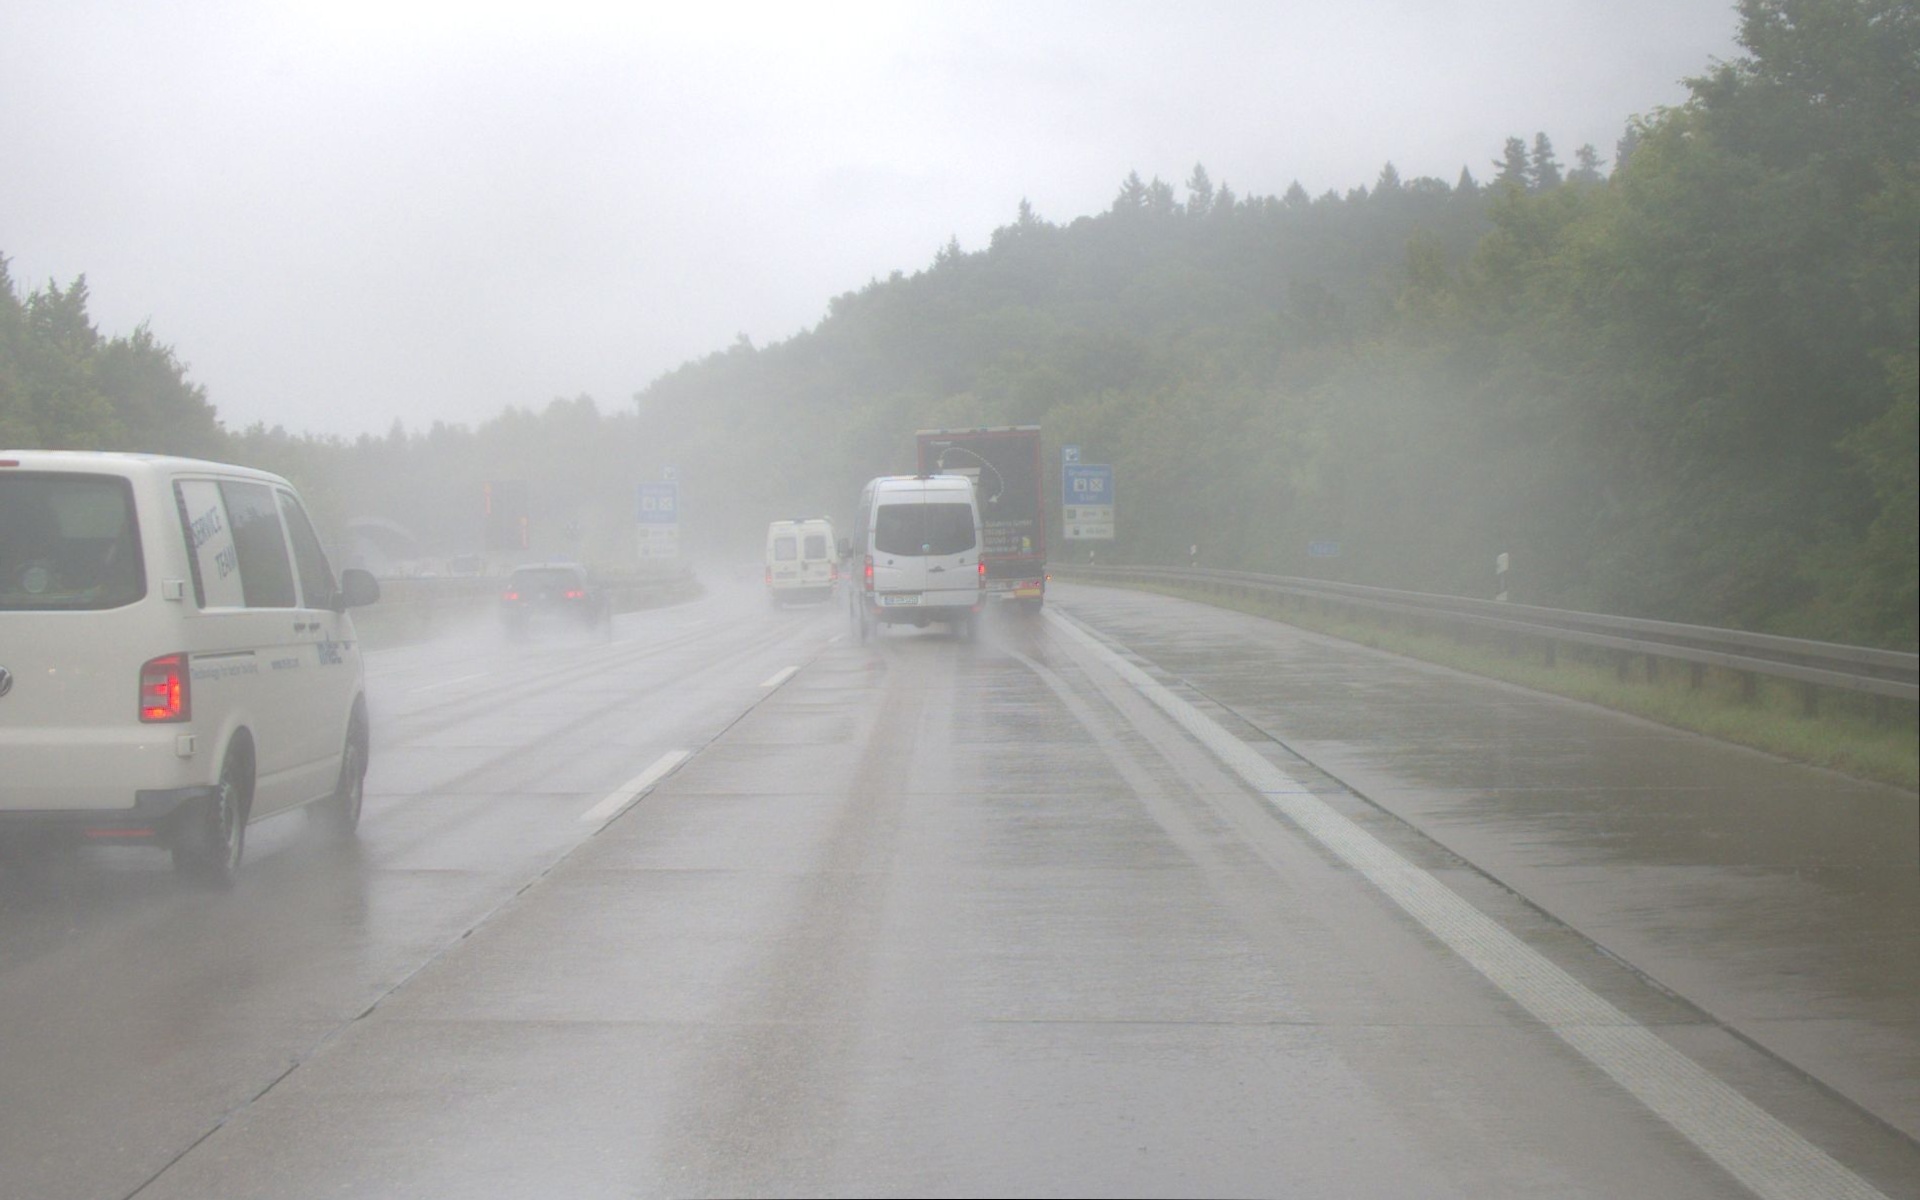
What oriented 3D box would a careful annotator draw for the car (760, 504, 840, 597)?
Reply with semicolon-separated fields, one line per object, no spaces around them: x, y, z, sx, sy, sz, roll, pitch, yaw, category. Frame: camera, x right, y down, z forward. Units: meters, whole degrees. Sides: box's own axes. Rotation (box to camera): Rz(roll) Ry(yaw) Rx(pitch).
-4.396;-1.369;95.132;1.997;2.423;5.791;2;1;-2;car

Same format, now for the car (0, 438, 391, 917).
-4.009;0.267;16.060;1.899;1.888;5.043;0;1;0;car

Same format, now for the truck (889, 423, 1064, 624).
0.289;-1.775;74.925;3.385;3.954;8.668;-3;3;-1;truck

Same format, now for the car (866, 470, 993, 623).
-0.546;-0.878;56.431;1.899;2.326;5.251;2;1;-2;car

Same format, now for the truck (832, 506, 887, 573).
-4.939;-2.945;168.130;1.993;3.159;6.735;-1;1;-7;truck

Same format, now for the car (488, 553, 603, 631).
-7.576;-0.156;63.149;1.740;1.383;4.322;0;0;-2;car
